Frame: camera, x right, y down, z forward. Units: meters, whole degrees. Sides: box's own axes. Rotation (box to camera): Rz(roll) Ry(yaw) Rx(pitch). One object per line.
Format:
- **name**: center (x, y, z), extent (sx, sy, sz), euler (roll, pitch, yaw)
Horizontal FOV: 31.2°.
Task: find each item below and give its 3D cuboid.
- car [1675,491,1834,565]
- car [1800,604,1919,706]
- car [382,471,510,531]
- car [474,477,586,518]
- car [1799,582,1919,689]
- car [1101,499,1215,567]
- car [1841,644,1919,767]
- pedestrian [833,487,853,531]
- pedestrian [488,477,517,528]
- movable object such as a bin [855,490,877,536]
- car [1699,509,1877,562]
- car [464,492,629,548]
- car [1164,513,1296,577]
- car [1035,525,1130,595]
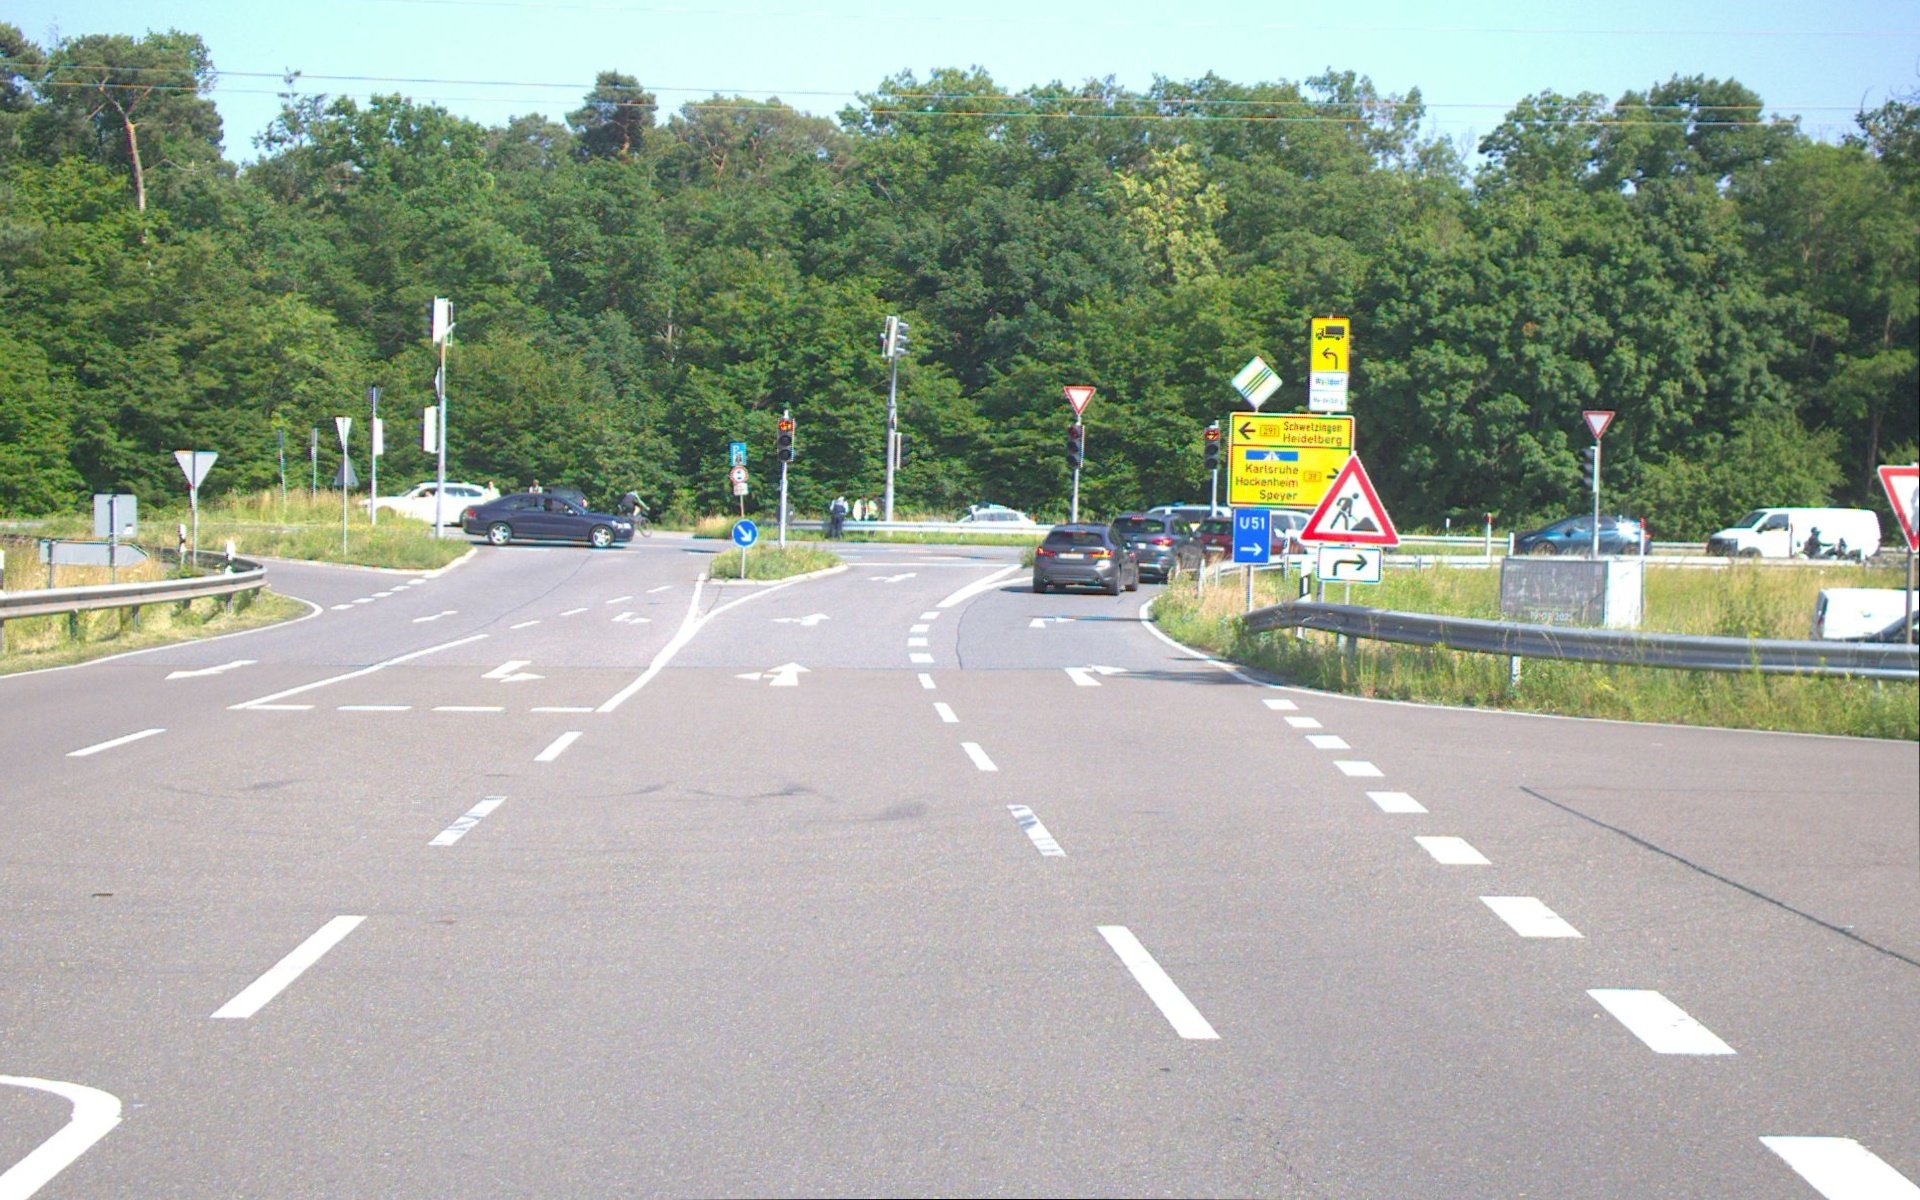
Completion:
- **car**: center (22.516, -2.041, 97.536), extent (3.986, 2.006, 1.801), euler (1, 2, -7)
- **car**: center (16.906, 0.957, 59.666), extent (4.415, 1.662, 1.901), euler (1, 2, 11)
- **car**: center (-17.585, -3.400, 117.620), extent (3.986, 2.007, 1.796), euler (-1, 1, -23)
- **car**: center (-15.591, -3.710, 124.532), extent (3.986, 1.417, 1.796), euler (-1, 1, -8)
- **car**: center (17.596, 0.687, 62.592), extent (4.357, 1.777, 1.901), euler (3, 2, 11)
- **car**: center (4.630, -1.551, 79.809), extent (1.801, 1.495, 3.997), euler (2, 2, 16)
- **car**: center (15.035, 1.504, 48.557), extent (4.652, 1.621, 2.000), euler (1, 1, 1)
- **pedestrian**: center (-3.748, -2.929, 110.399), extent (0.523, 1.386, 0.514), euler (0, 1, 10)
- **pedestrian**: center (-15.458, -3.296, 116.127), extent (0.757, 1.715, 0.679), euler (-1, 2, -33)
- **movable object such as a bin**: center (-3.047, -2.806, 110.928), extent (0.602, 1.483, 0.732), euler (0, 1, 6)
- **car**: center (25.283, -1.978, 105.052), extent (4.880, 1.546, 2.001), euler (-1, 1, -8)
- **car**: center (-11.189, -2.166, 92.932), extent (4.363, 1.454, 2.001), euler (-1, 1, -8)
- **car**: center (6.735, -1.363, 85.450), extent (1.802, 1.495, 3.994), euler (2, 2, 27)
- **car**: center (2.614, -0.867, 72.405), extent (1.799, 1.393, 4.000), euler (0, 1, 5)
